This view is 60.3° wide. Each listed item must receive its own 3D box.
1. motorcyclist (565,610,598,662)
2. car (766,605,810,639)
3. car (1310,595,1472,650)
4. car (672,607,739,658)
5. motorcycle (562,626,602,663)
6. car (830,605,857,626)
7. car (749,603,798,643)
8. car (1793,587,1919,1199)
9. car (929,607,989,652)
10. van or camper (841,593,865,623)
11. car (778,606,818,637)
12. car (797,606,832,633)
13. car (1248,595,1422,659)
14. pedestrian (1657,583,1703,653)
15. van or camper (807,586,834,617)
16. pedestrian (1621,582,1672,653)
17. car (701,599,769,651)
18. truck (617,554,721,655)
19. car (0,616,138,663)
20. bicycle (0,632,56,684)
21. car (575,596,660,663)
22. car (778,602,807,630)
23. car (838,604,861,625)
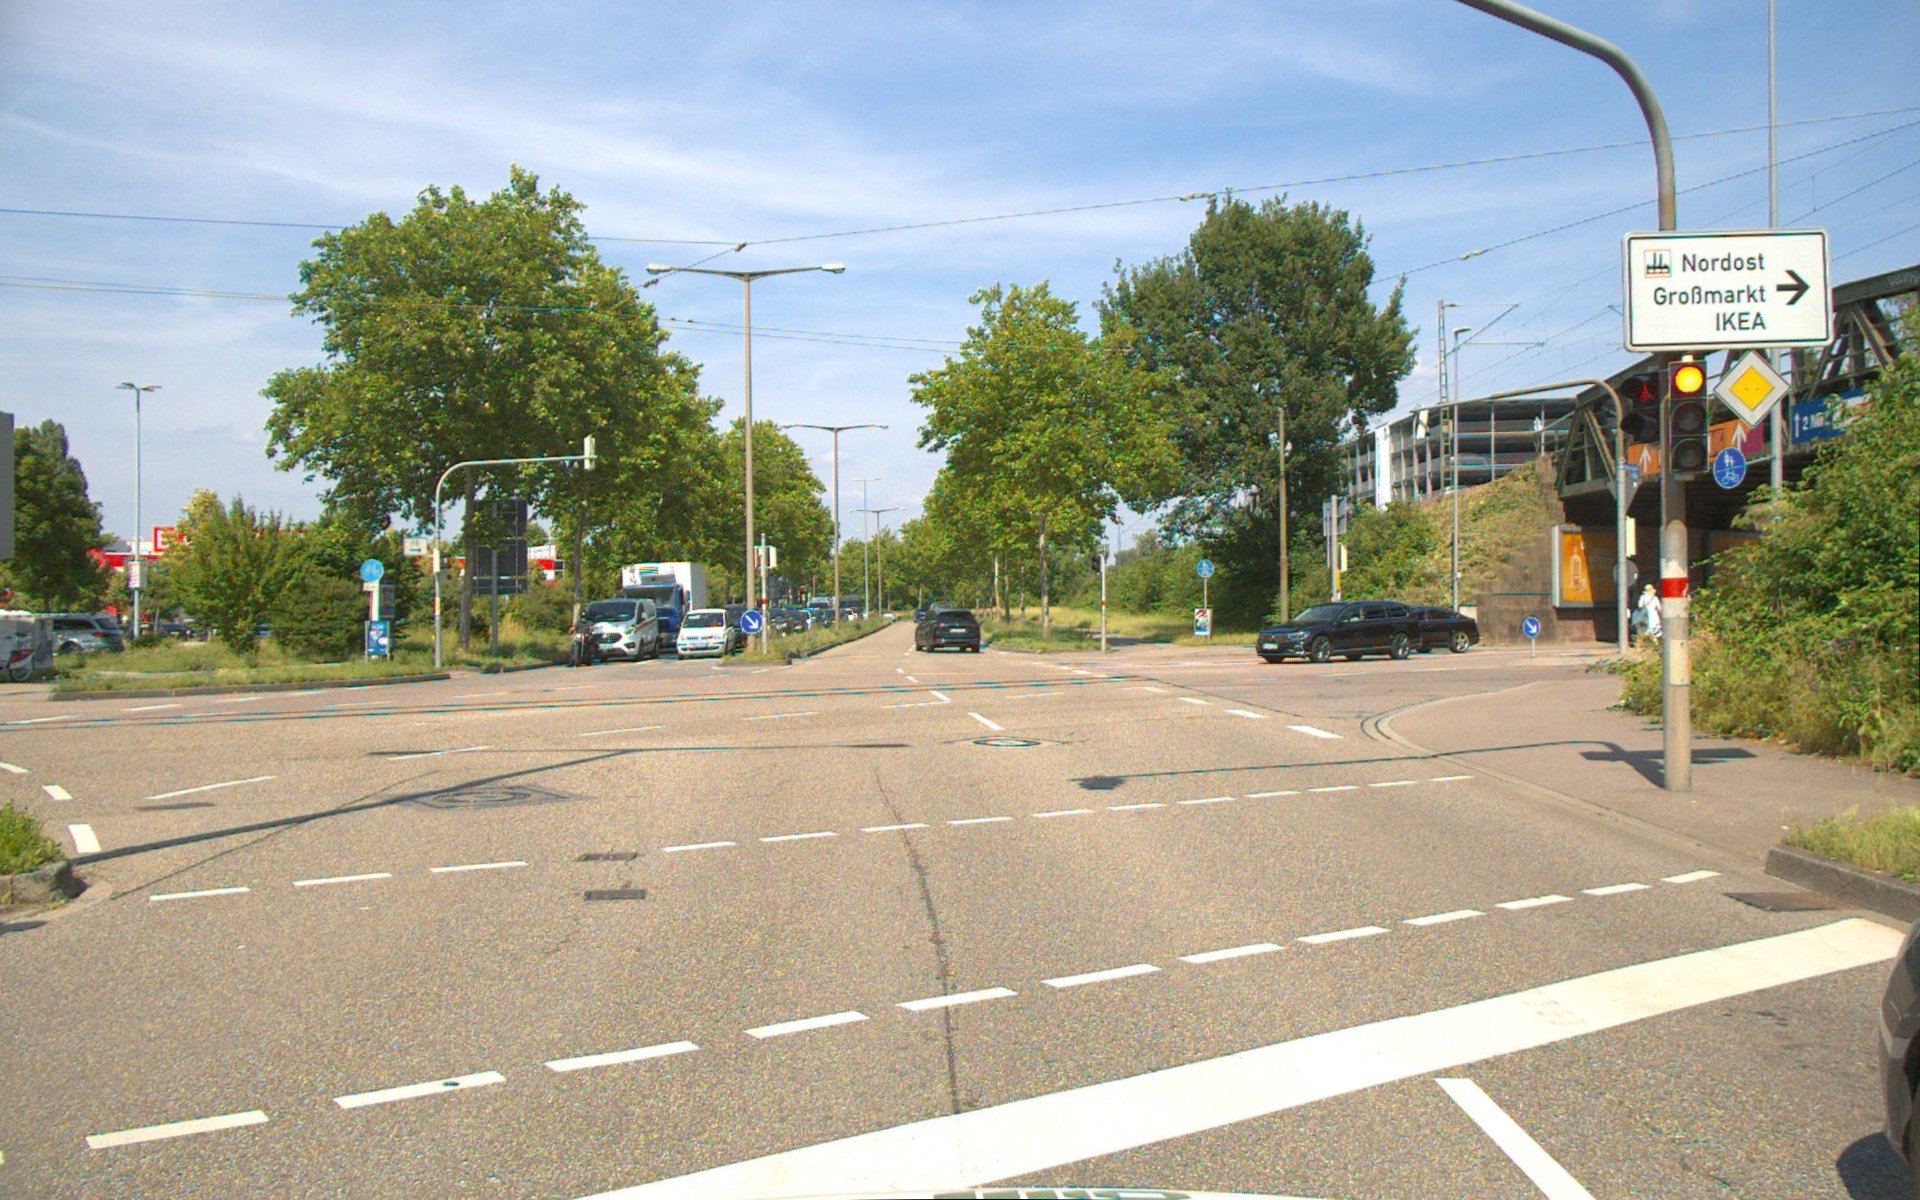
[{"bbox_3d":[-10.997,1.040,48.072,0.728,1.496,0.987,-1,0,-1],"label":"motorcyclist"},{"bbox_3d":[-8.219,1.030,79.102,1.655,1.499,4.217,-3,0,-1],"label":"car"},{"bbox_3d":[12.593,0.626,48.256,4.556,1.489,1.896,-1,0,-29],"label":"car"},{"bbox_3d":[-8.030,1.007,52.442,1.560,1.503,3.728,-2,0,-1],"label":"car"},{"bbox_3d":[-10.962,1.289,47.977,0.674,1.009,2.217,-1,0,-1],"label":"motorcycle"},{"bbox_3d":[-8.793,1.155,125.052,1.747,1.484,4.471,-2,0,-1],"label":"car"},{"bbox_3d":[-8.058,0.985,71.831,1.654,1.614,4.239,-2,0,-1],"label":"car"},{"bbox_3d":[2.923,0.721,2.085,1.640,1.479,4.035,1,0,-1],"label":"car"},{"bbox_3d":[-0.067,0.979,56.429,1.798,1.416,4.262,-1,0,-4],"label":"car"},{"bbox_3d":[-9.071,0.711,140.568,1.899,2.410,5.395,-2,-1,-2],"label":"van or camper"},{"bbox_3d":[-8.284,1.079,84.737,1.654,1.497,3.814,-2,0,-1],"label":"car"},{"bbox_3d":[-8.551,1.128,97.428,1.749,1.515,4.209,-2,0,-2],"label":"car"},{"bbox_3d":[9.272,0.627,40.815,4.166,1.468,1.771,-1,0,-31],"label":"car"},{"bbox_3d":[16.921,0.416,38.881,0.714,1.607,0.777,-1,0,-1],"label":"pedestrian"},{"bbox_3d":[-12.455,0.122,147.692,1.974,2.633,5.516,-2,0,-1],"label":"van or camper"},{"bbox_3d":[16.130,0.408,38.893,0.850,1.640,0.777,-1,0,-1],"label":"pedestrian"},{"bbox_3d":[-7.872,0.891,58.318,1.783,1.675,4.692,-2,-1,-1],"label":"car"},{"bbox_3d":[-11.046,0.151,63.399,2.747,3.532,6.690,-3,0,-1],"label":"truck"},{"bbox_3d":[-29.706,1.284,54.195,4.477,1.439,2.197,-1,0,-8],"label":"car"},{"bbox_3d":[-19.937,1.210,34.692,0.581,1.055,1.897,-1,0,13],"label":"bicycle"},{"bbox_3d":[-10.939,0.898,53.152,1.937,2.034,5.028,-1,0,-3],"label":"car"},{"bbox_3d":[-12.026,1.164,118.712,1.654,1.891,4.035,-2,-1,-1],"label":"car"},{"bbox_3d":[-8.783,1.143,131.742,1.654,1.537,3.814,-2,0,-1],"label":"car"}]
